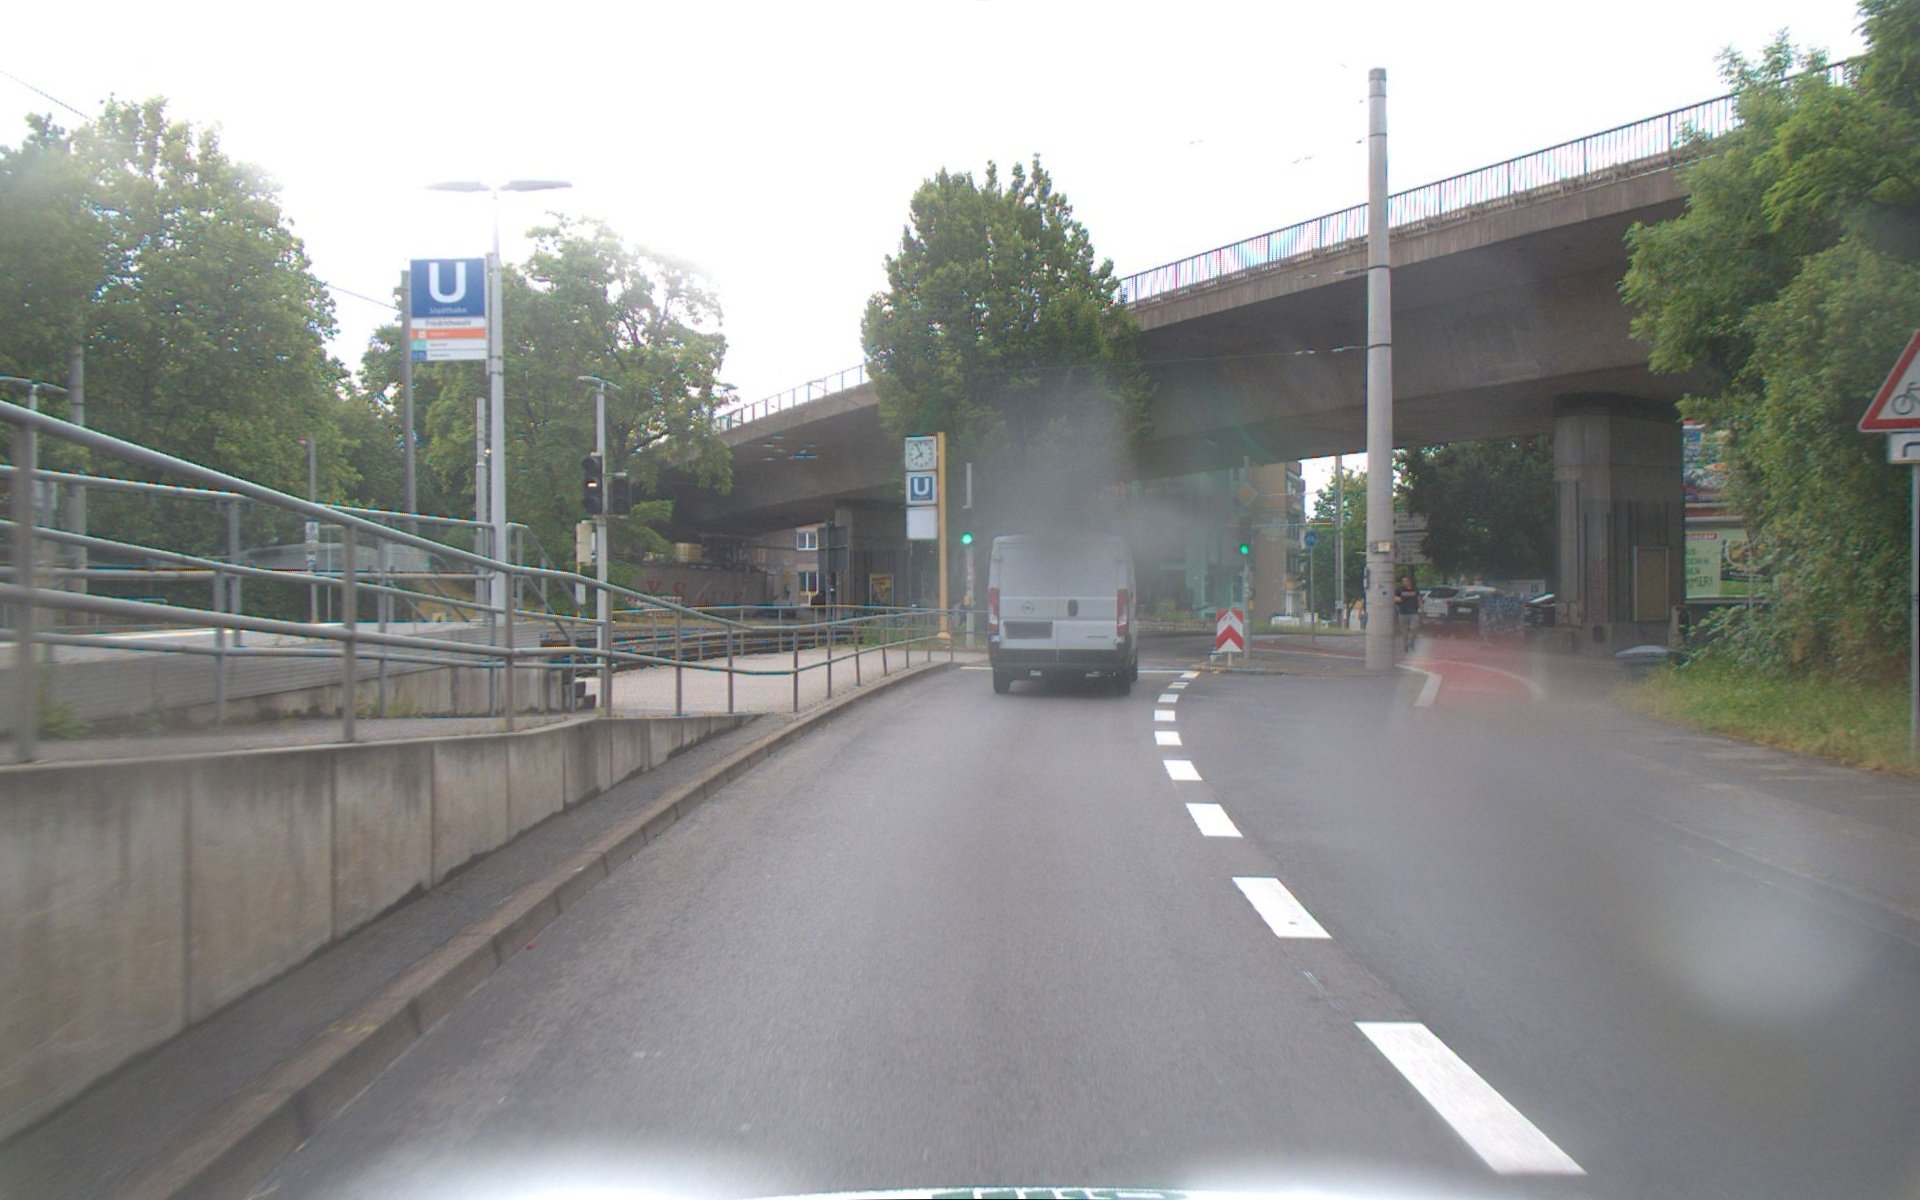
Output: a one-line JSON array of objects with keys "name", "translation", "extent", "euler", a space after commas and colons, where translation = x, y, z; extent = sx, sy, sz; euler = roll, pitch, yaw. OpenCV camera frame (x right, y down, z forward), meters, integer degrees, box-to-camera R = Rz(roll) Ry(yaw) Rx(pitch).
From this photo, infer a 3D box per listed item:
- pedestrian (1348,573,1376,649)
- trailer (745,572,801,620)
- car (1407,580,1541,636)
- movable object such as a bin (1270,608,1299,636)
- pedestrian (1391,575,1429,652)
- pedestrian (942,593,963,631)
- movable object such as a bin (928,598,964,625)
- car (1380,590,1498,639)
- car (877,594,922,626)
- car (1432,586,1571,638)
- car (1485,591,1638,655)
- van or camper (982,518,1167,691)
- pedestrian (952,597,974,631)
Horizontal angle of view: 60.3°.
[{"name": "pedestrian", "translation": [9.916, 0.280, 40.815], "extent": [0.612, 1.840, 0.836], "euler": [2, -1, 13]}, {"name": "trailer", "translation": [-11.213, -0.200, 99.049], "extent": [1.970, 2.773, 4.087], "euler": [2, -1, -27]}, {"name": "car", "translation": [16.185, 0.264, 52.068], "extent": [3.971, 1.659, 1.946], "euler": [1, -1, -32]}, {"name": "movable object such as a bin", "translation": [27.449, 1.850, 139.925], "extent": [2.090, 2.194, 1.802], "euler": [2, 1, 21]}, {"name": "pedestrian", "translation": [11.070, 0.336, 40.709], "extent": [0.585, 1.854, 0.908], "euler": [2, -1, -5]}, {"name": "pedestrian", "translation": [-0.386, 0.611, 83.689], "extent": [0.680, 1.863, 0.865], "euler": [1, 0, 30]}, {"name": "movable object such as a bin", "translation": [-0.840, 0.687, 98.172], "extent": [1.537, 1.505, 1.788], "euler": [2, 1, -25]}, {"name": "car", "translation": [15.840, 0.483, 54.671], "extent": [3.687, 1.548, 1.783], "euler": [1, -1, -32]}, {"name": "car", "translation": [-3.626, 0.580, 98.616], "extent": [1.690, 1.696, 3.178], "euler": [3, 1, -22]}, {"name": "car", "translation": [15.995, 0.363, 48.838], "extent": [3.997, 1.465, 1.768], "euler": [1, 0, -32]}, {"name": "car", "translation": [16.780, 0.643, 46.128], "extent": [3.943, 1.599, 1.887], "euler": [3, -1, -29]}, {"name": "van or camper", "translation": [1.853, 0.096, 24.977], "extent": [2.152, 2.292, 4.687], "euler": [2, -1, 11]}, {"name": "pedestrian", "translation": [0.150, 0.710, 82.912], "extent": [0.681, 1.699, 0.885], "euler": [1, 0, 32]}]
